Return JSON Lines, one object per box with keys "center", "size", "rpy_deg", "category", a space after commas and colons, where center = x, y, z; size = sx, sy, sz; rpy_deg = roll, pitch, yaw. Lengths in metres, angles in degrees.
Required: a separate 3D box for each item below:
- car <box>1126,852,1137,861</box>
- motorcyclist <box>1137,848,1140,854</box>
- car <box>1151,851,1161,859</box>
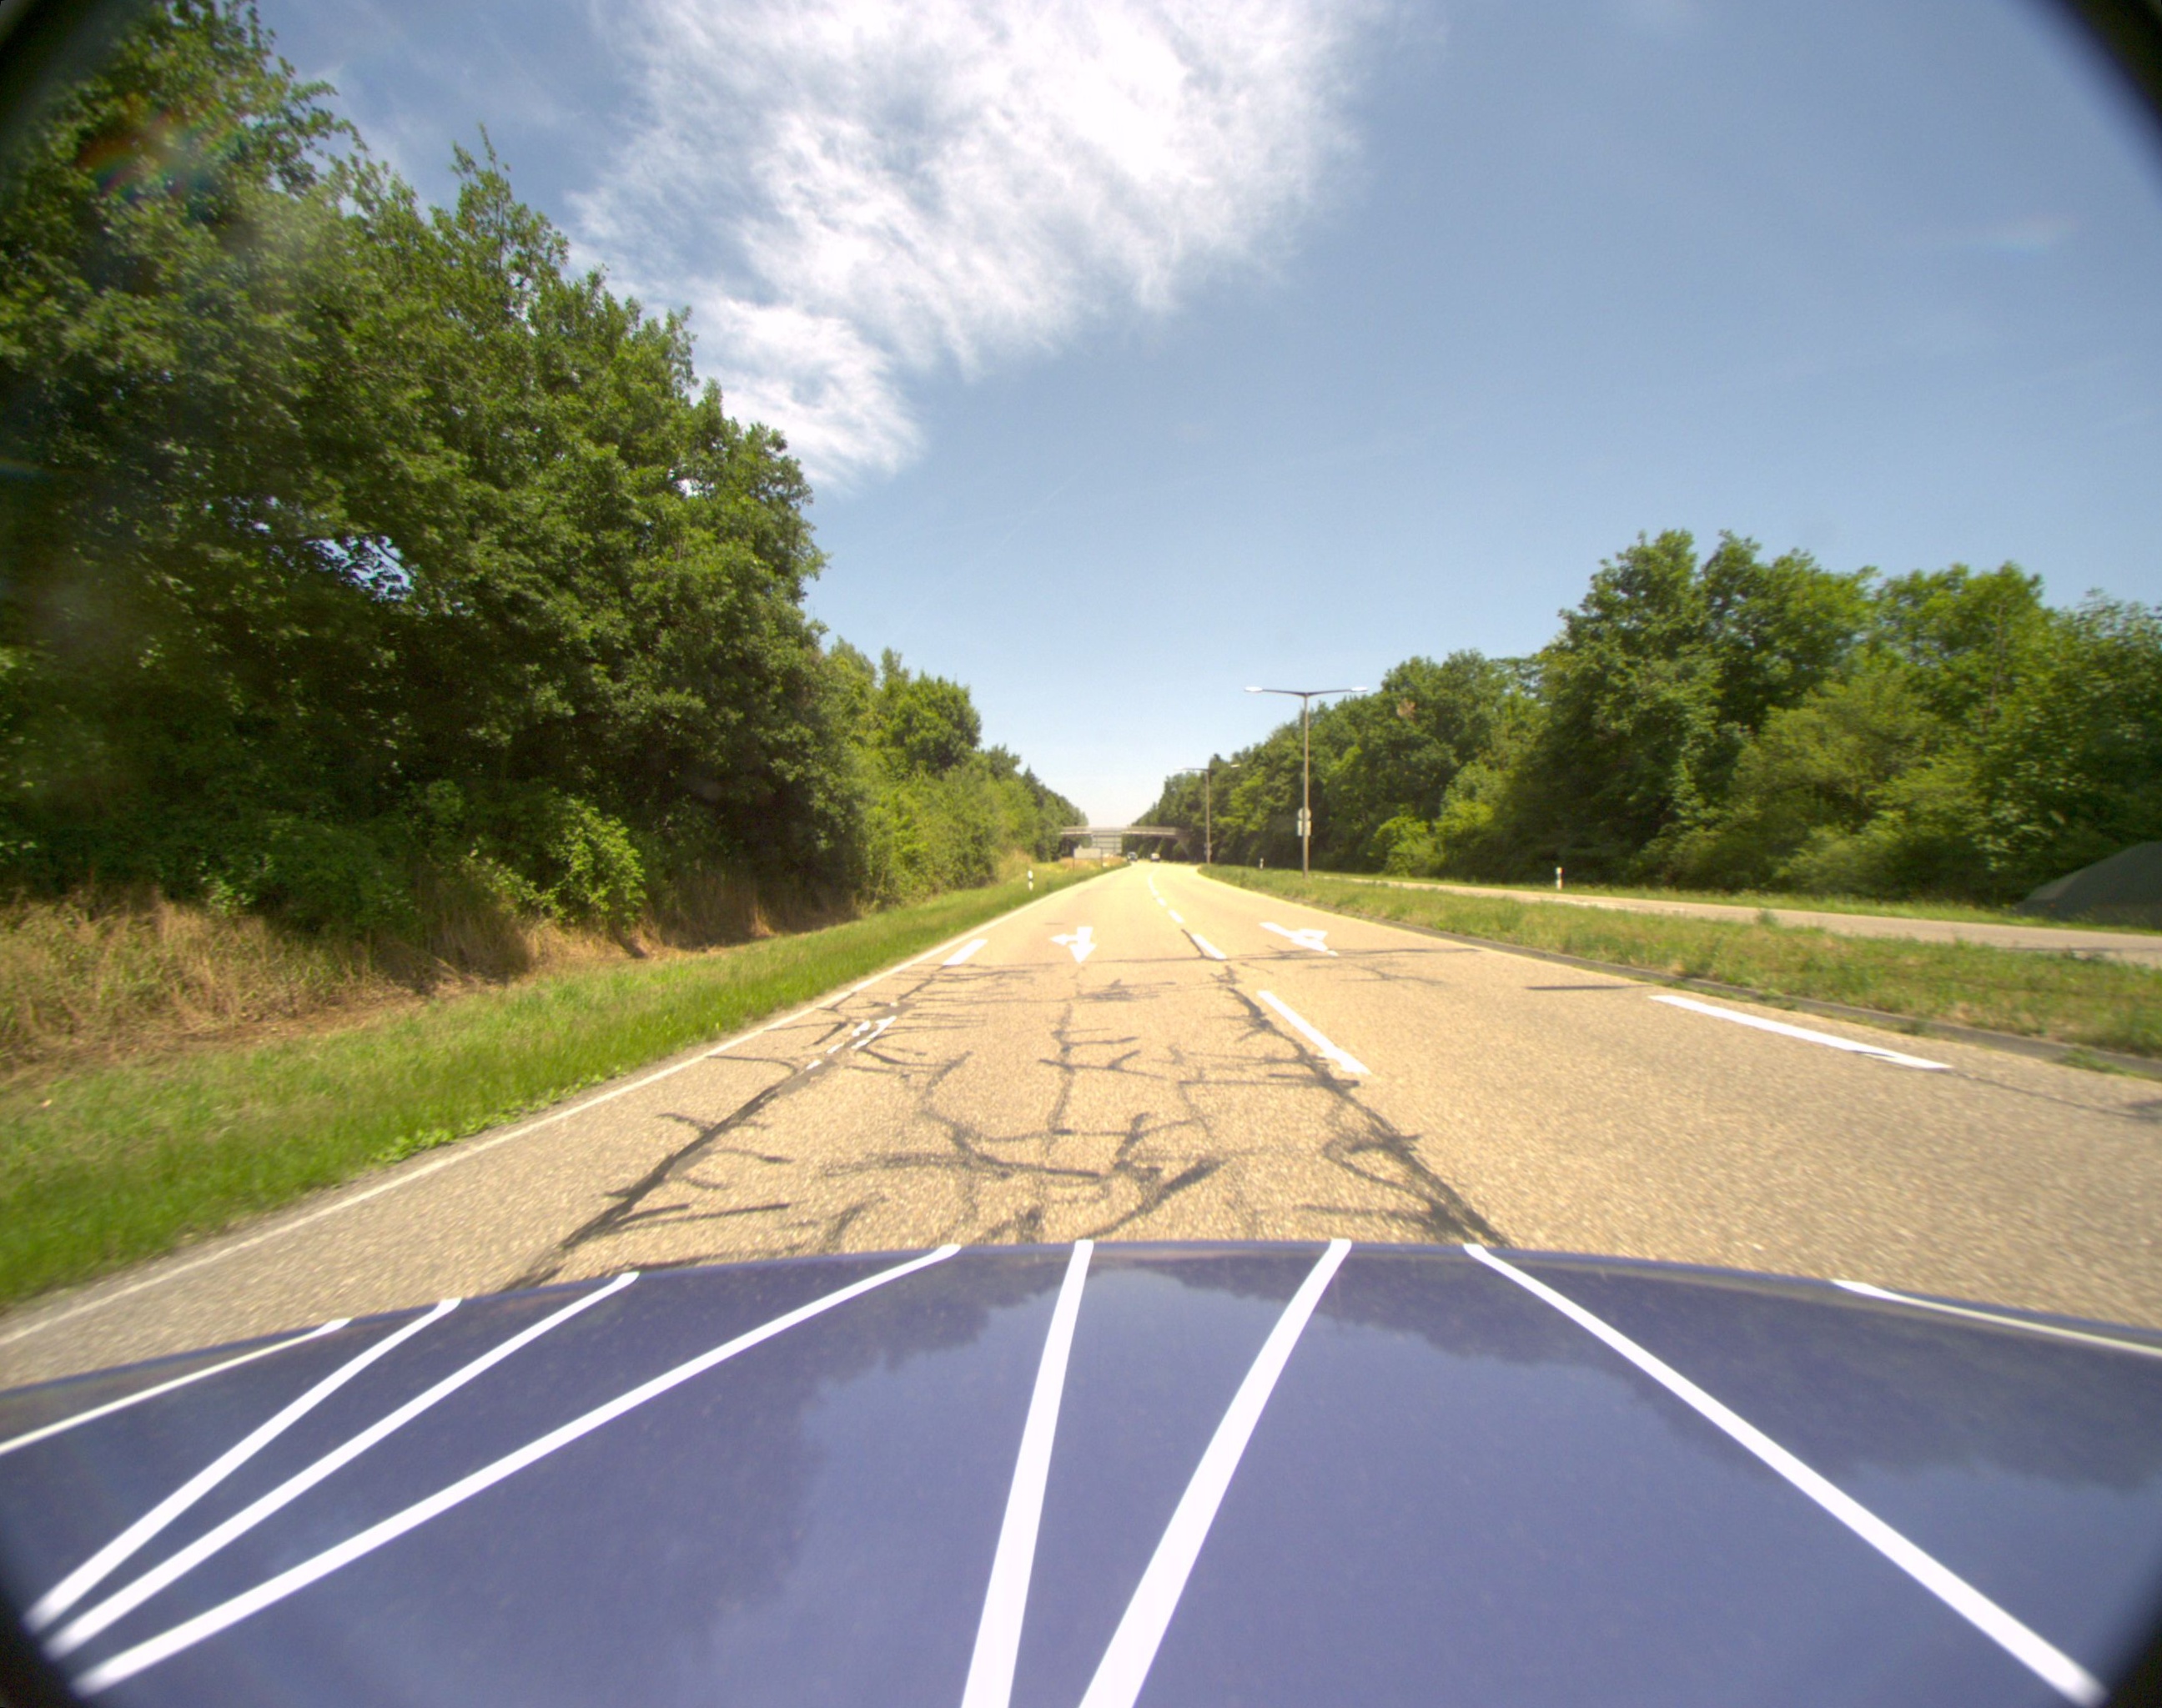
{"center": [10.453, 0.468, 157.875], "size": [1.865, 1.747, 3.999], "rpy_deg": [0, 1, 0], "category": "car"}
{"center": [16.174, -0.838, 213.968], "size": [0.672, 1.467, 0.813], "rpy_deg": [0, 1, -2], "category": "motorcyclist"}
{"center": [15.794, 0.130, 159.567], "size": [1.736, 1.678, 4.095], "rpy_deg": [2, 0, 0], "category": "car"}
